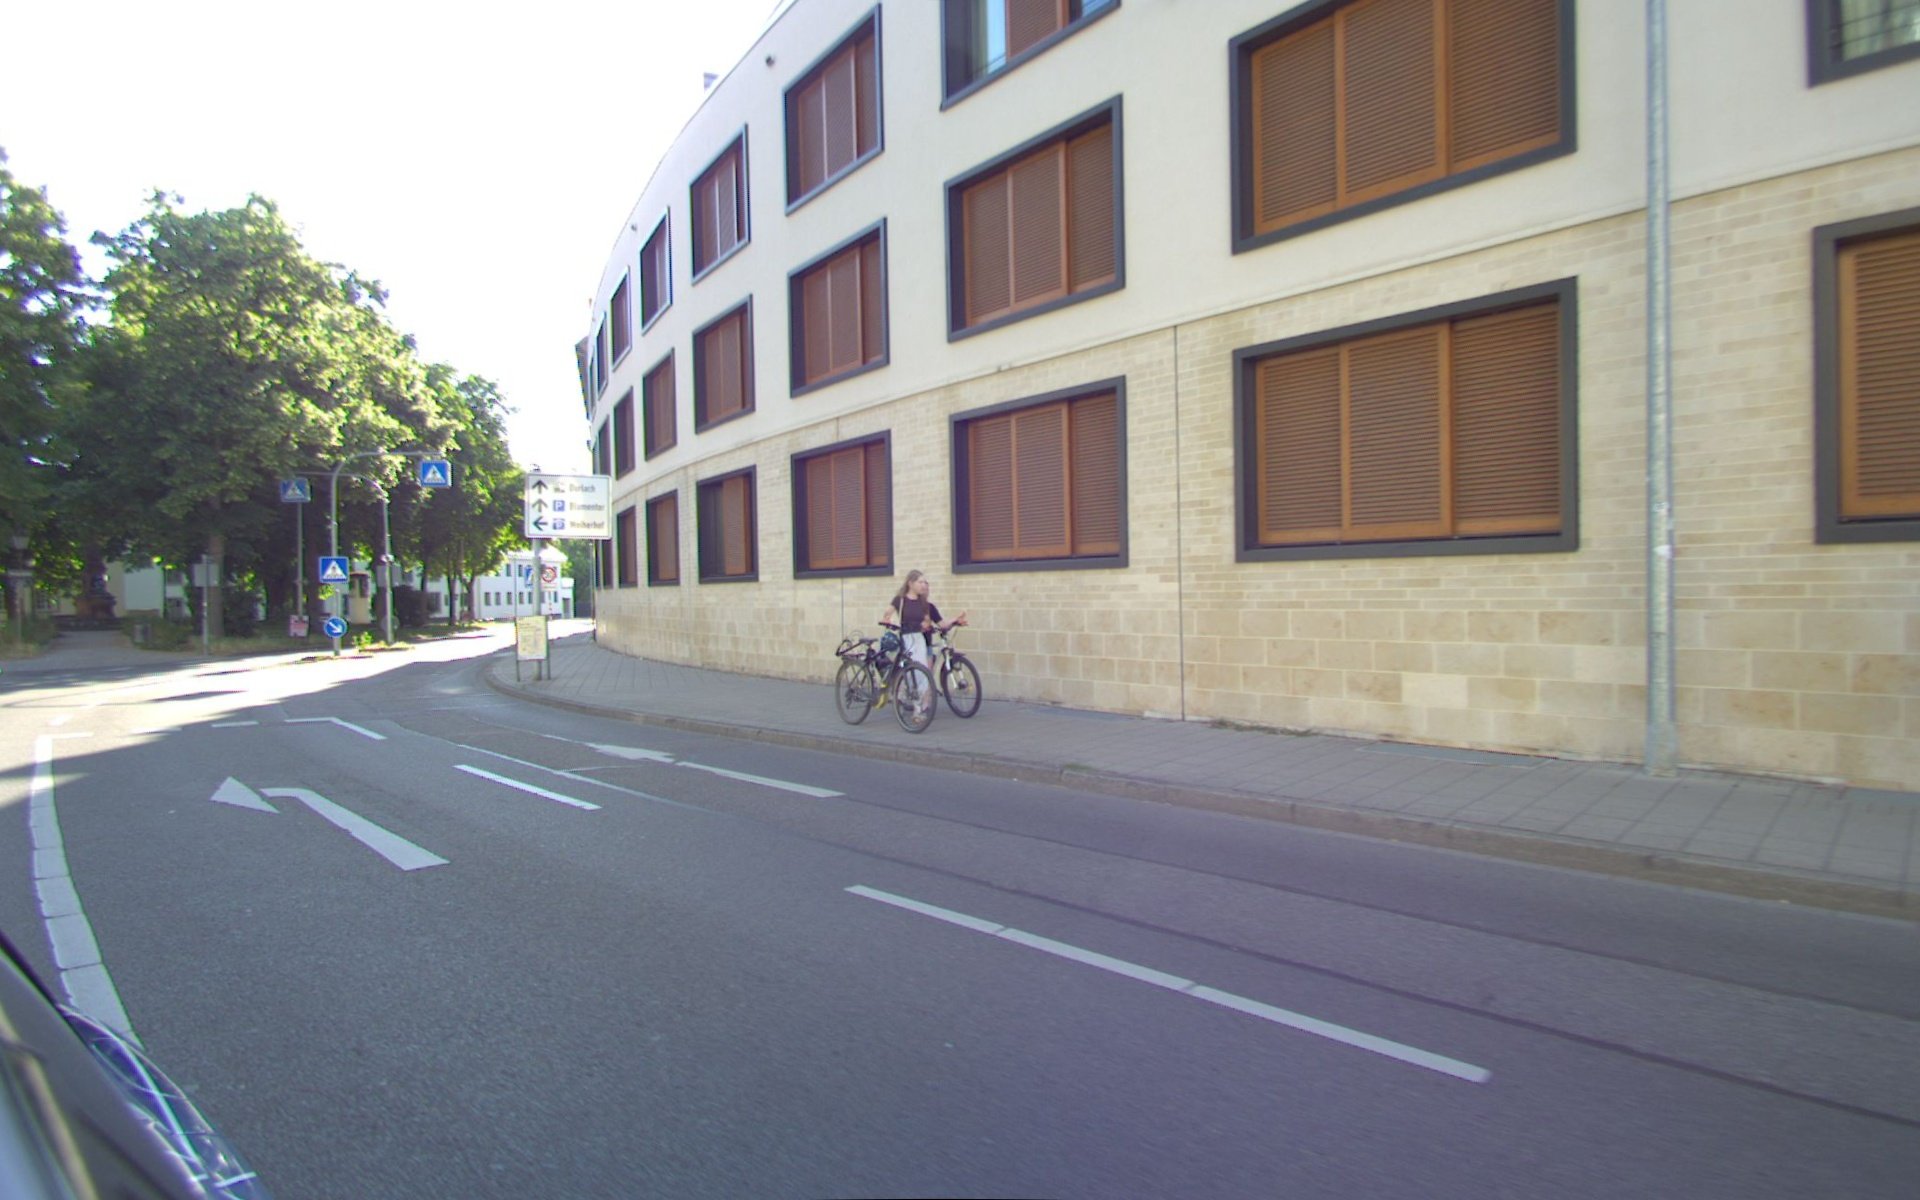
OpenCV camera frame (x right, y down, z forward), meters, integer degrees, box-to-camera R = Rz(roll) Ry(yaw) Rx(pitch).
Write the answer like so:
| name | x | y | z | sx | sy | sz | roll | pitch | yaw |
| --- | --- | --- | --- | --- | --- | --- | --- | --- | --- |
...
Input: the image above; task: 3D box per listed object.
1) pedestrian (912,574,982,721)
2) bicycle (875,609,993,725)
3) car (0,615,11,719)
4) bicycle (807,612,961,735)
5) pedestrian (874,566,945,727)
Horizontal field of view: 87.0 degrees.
| name | x | y | z | sx | sy | sz | roll | pitch | yaw |
| --- | --- | --- | --- | --- | --- | --- | --- | --- | --- |
| pedestrian | -0.150 | 0.517 | 11.314 | 0.468 | 1.576 | 0.604 | -3 | 0 | -35 |
| bicycle | -0.332 | 0.701 | 11.227 | 0.370 | 1.176 | 1.842 | -1 | 0 | -33 |
| car | -16.068 | 1.013 | 14.177 | 4.727 | 1.475 | 1.846 | -2 | -1 | 15 |
| bicycle | -0.853 | 0.754 | 10.755 | 0.435 | 1.187 | 1.968 | -2 | -1 | -44 |
| pedestrian | -0.543 | 0.480 | 10.856 | 0.467 | 1.660 | 0.604 | -1 | 0 | -35 |
